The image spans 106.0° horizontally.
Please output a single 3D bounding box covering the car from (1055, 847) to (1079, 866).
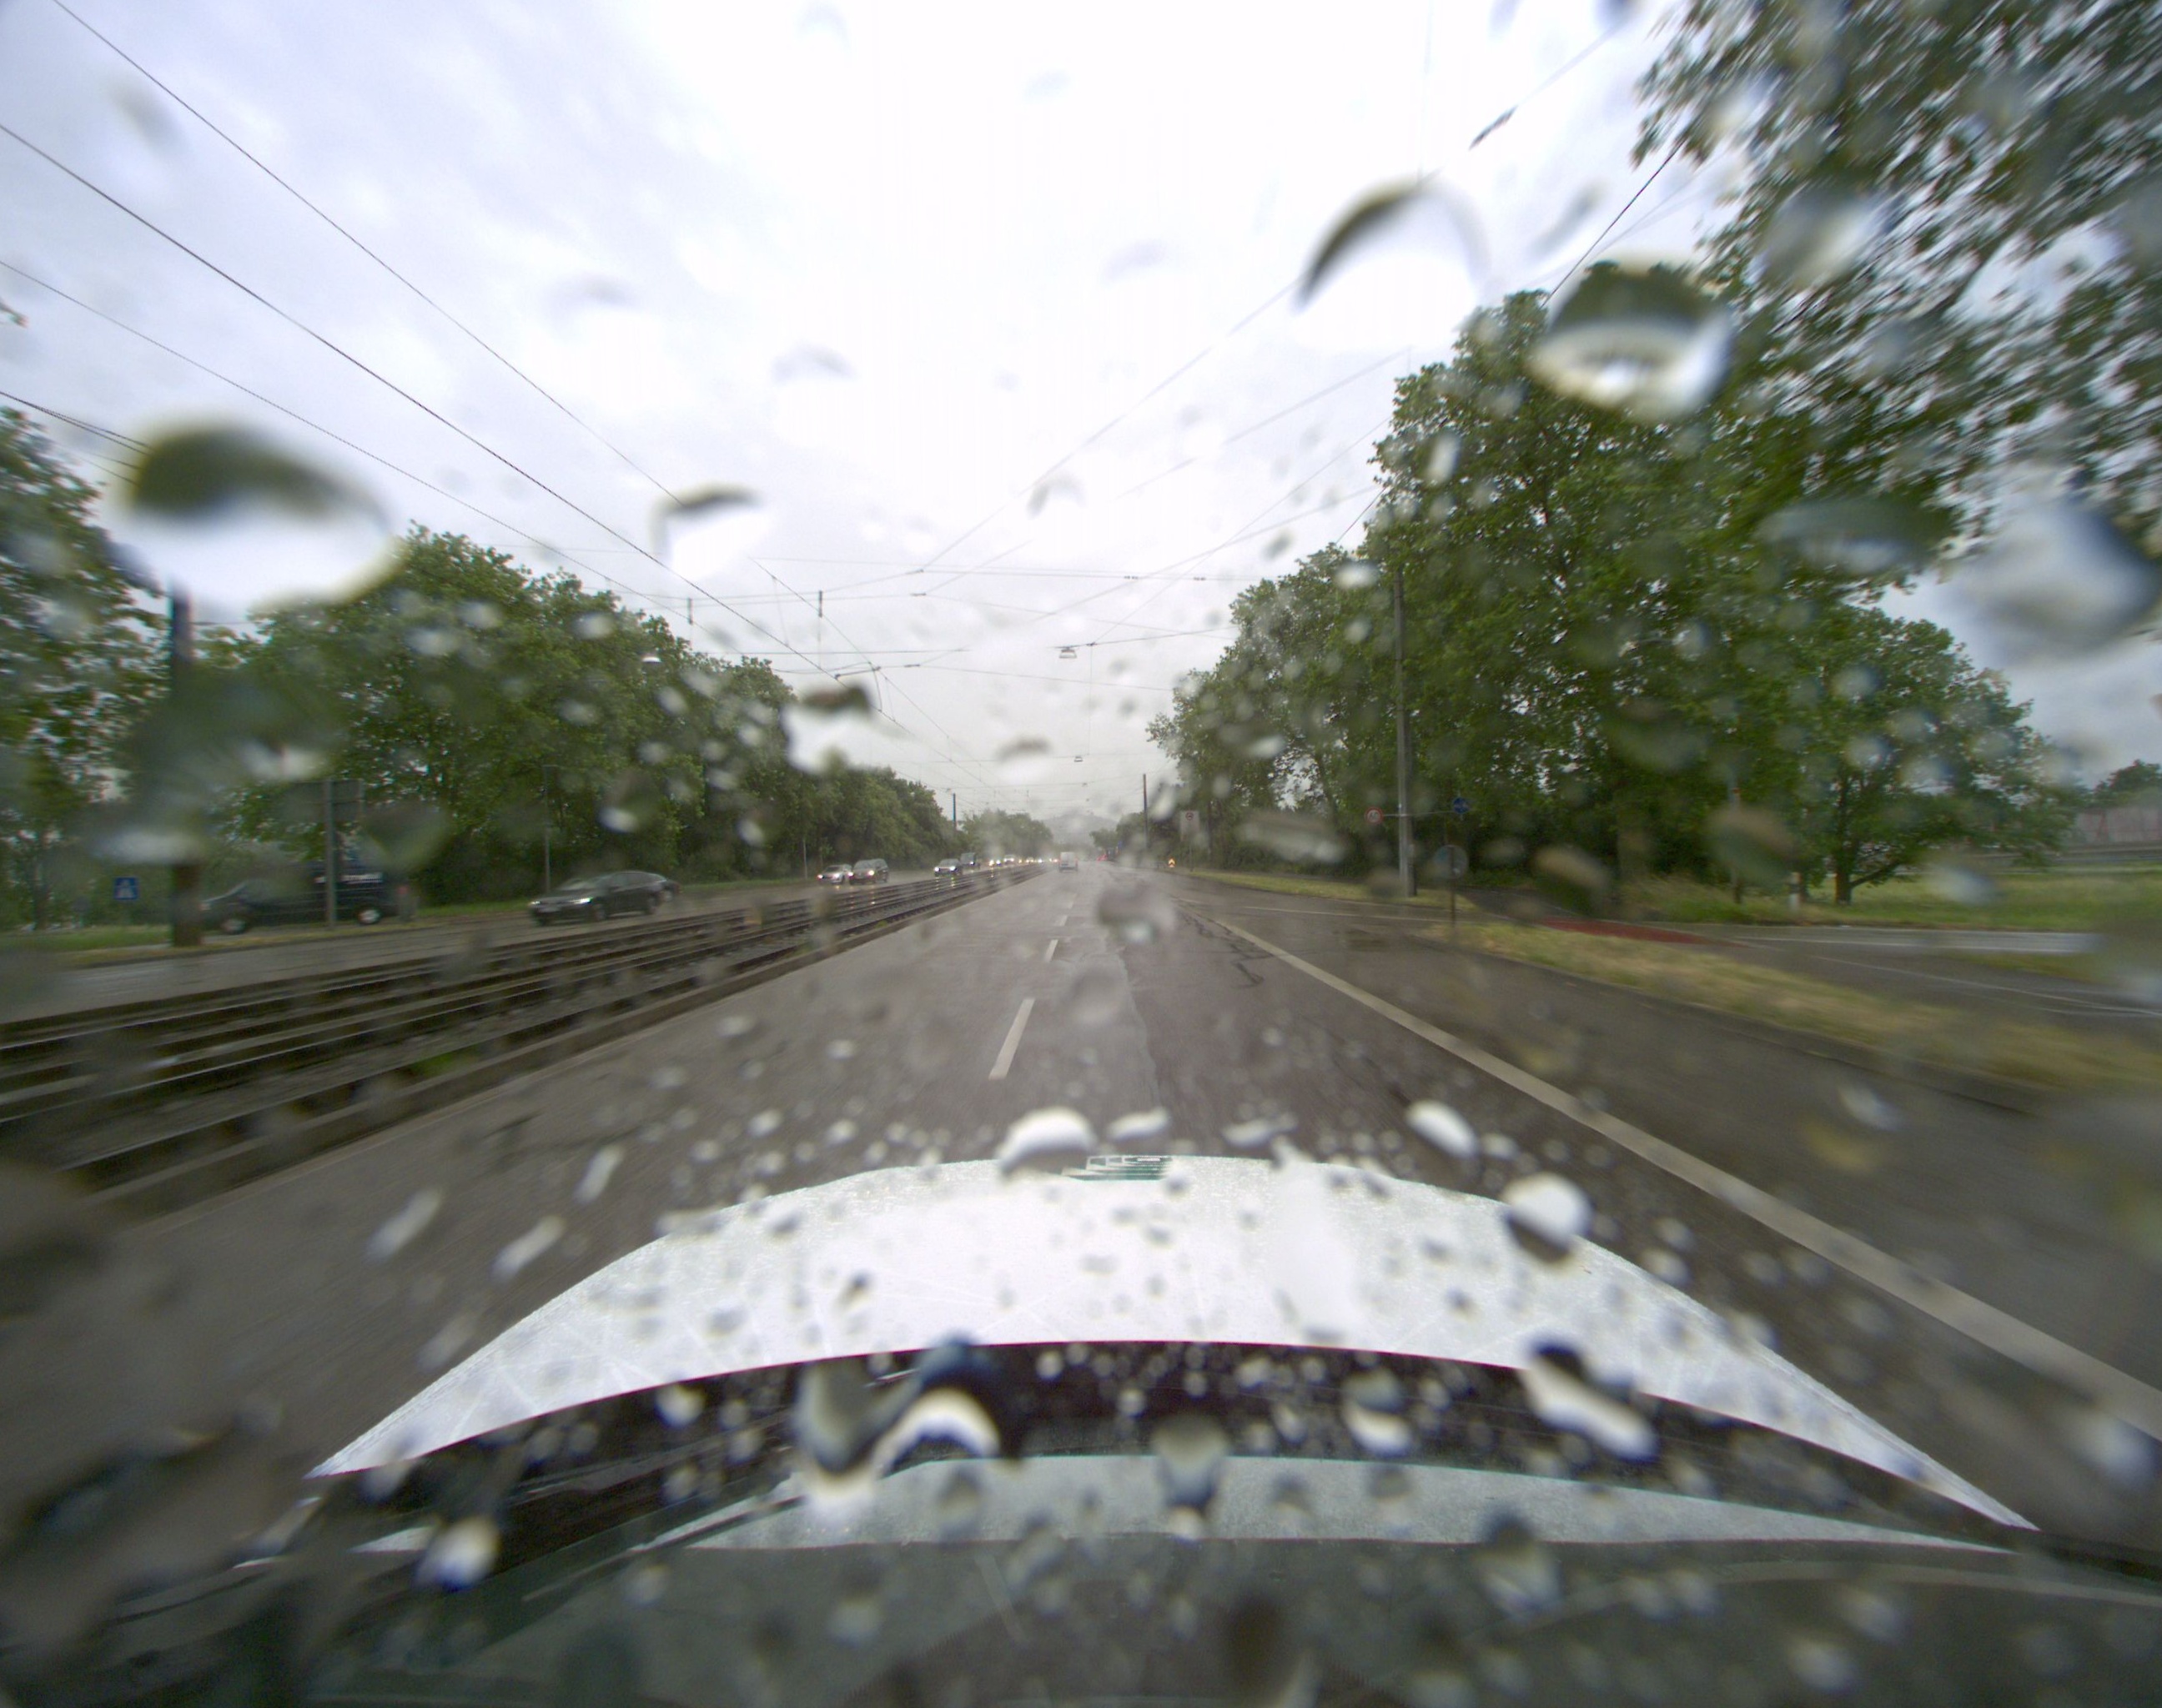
[{"bbox_3d":[-1.273,0.218,74.366,1.981,1.683,3.742,0,1,2],"label":"car"}]

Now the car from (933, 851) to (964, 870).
[{"bbox_3d":[-11.767,0.559,72.452,1.770,1.585,5.682,0,1,1],"label":"car"}]

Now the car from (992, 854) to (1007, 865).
[{"bbox_3d":[-13.161,0.828,132.041,1.833,1.716,4.167,0,1,4],"label":"car"}]

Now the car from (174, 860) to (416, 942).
[{"bbox_3d":[-27.218,1.494,28.498,5.883,2.425,2.310,-1,1,-45],"label":"car"}]

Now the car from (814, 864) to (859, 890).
[{"bbox_3d":[-18.418,1.671,61.491,1.813,1.705,5.021,0,1,1],"label":"car"}]

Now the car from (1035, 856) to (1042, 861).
[{"bbox_3d":[-12.101,1.200,231.957,1.791,1.453,4.196,0,1,1],"label":"car"}]

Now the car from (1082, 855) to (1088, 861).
[{"bbox_3d":[1.165,1.054,224.746,1.737,1.508,3.700,0,1,0],"label":"car"}]

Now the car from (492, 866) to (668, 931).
[{"bbox_3d":[-14.608,1.223,24.218,1.784,1.549,5.316,0,1,2],"label":"car"}]

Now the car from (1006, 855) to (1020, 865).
[{"bbox_3d":[-12.949,1.142,155.732,2.032,1.775,4.989,0,1,2],"label":"car"}]

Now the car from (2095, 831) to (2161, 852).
[{"bbox_3d":[107.495,-1.277,83.478,3.948,2.013,2.013,-2,0,32],"label":"car"}]

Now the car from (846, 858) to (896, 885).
[{"bbox_3d":[-14.640,1.172,57.124,1.813,1.705,6.106,0,1,1],"label":"car"}]

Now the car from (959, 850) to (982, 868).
[{"bbox_3d":[-14.997,0.660,110.983,2.092,2.343,6.991,0,1,1],"label":"car"}]
